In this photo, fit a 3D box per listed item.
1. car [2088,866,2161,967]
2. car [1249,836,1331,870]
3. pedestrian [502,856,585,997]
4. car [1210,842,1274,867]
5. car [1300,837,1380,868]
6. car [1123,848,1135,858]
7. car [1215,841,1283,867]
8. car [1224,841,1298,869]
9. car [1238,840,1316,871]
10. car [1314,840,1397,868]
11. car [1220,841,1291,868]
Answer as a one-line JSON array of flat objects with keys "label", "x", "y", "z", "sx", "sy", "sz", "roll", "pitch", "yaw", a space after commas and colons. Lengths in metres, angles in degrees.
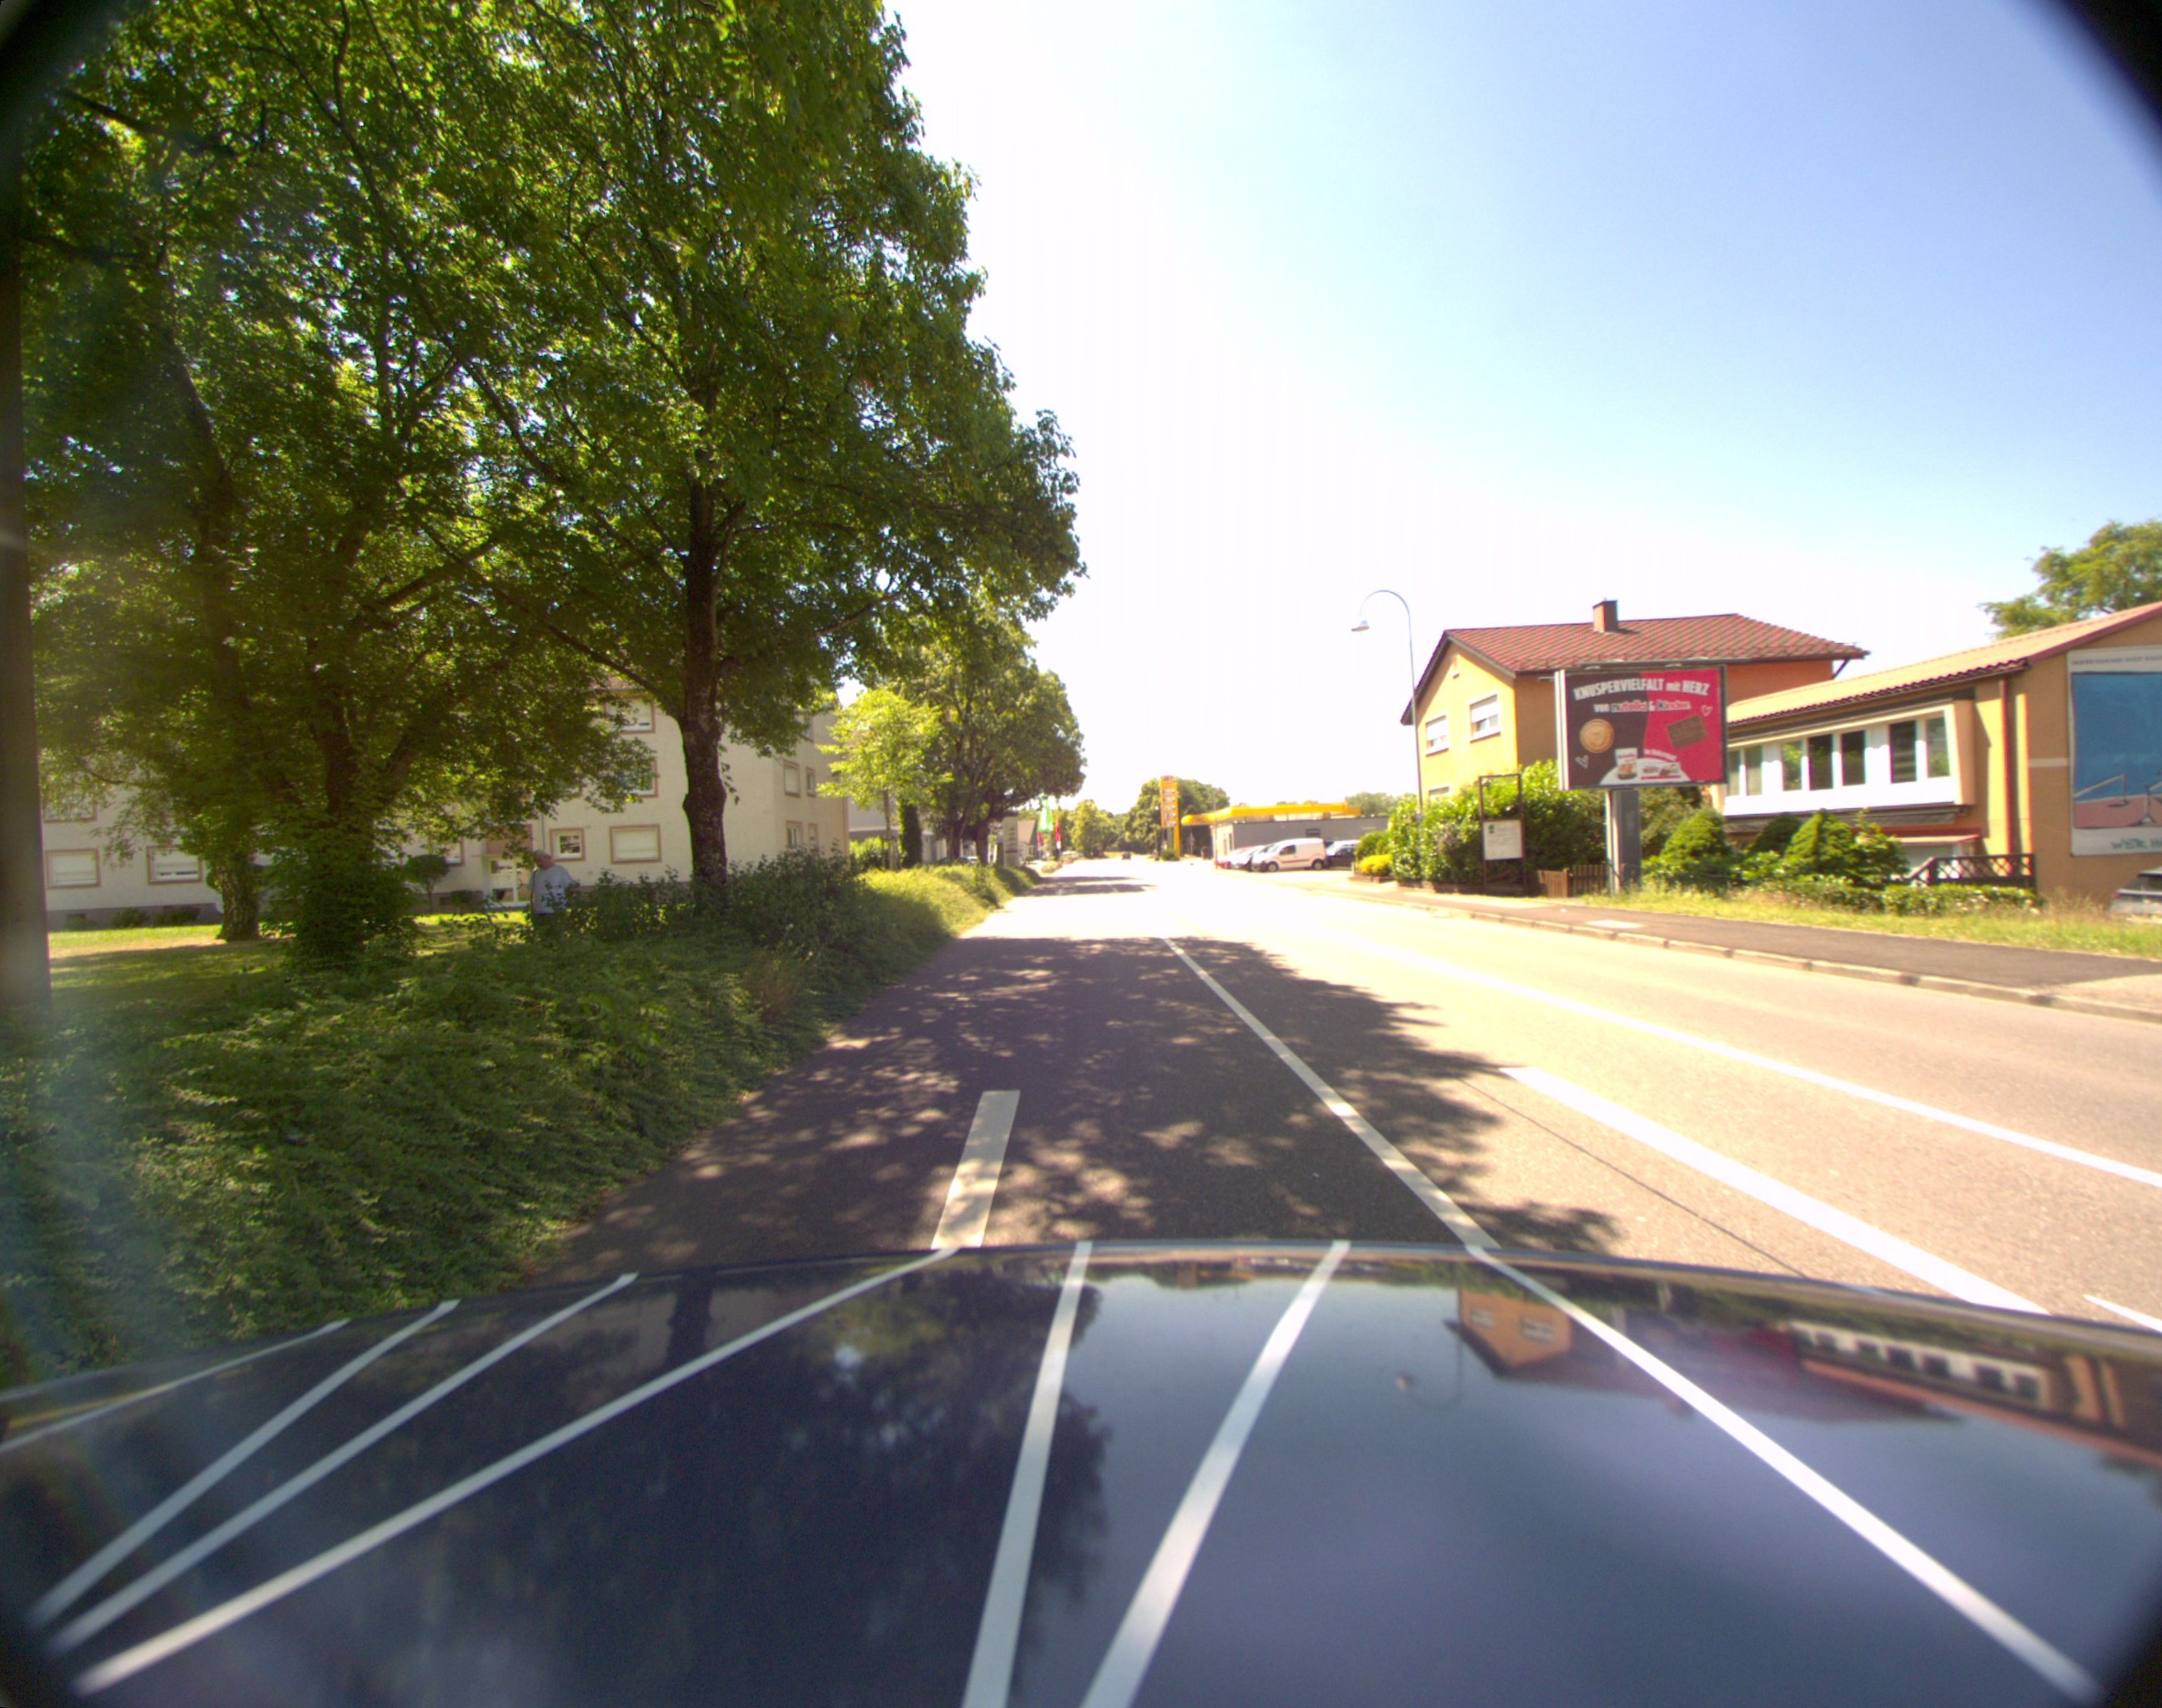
[{"label": "car", "x": 19.844, "y": 1.000, "z": 12.330, "sx": 4.224, "sy": 1.599, "sz": 1.772, "roll": -1, "pitch": 1, "yaw": 7}, {"label": "car", "x": 12.161, "y": -0.057, "z": 44.424, "sx": 4.191, "sy": 1.858, "sz": 1.874, "roll": -2, "pitch": 1, "yaw": -5}, {"label": "pedestrian", "x": -7.561, "y": 0.979, "z": 10.728, "sx": 0.675, "sy": 1.863, "sz": 0.901, "roll": -3, "pitch": 1, "yaw": -22}, {"label": "car", "x": 12.239, "y": 0.021, "z": 57.964, "sx": 4.402, "sy": 1.750, "sz": 1.874, "roll": -2, "pitch": 1, "yaw": -5}, {"label": "car", "x": 16.528, "y": -0.120, "z": 48.581, "sx": 4.402, "sy": 1.815, "sz": 1.874, "roll": -2, "pitch": 1, "yaw": -5}, {"label": "car", "x": 8.009, "y": -0.207, "z": 127.572, "sx": 1.809, "sy": 1.552, "sz": 4.063, "roll": -2, "pitch": 1, "yaw": 1}, {"label": "car", "x": 12.248, "y": -0.016, "z": 55.547, "sx": 4.402, "sy": 1.750, "sz": 1.874, "roll": -2, "pitch": 1, "yaw": -5}, {"label": "car", "x": 12.063, "y": 0.068, "z": 51.058, "sx": 4.402, "sy": 1.750, "sz": 1.874, "roll": -2, "pitch": 1, "yaw": -5}, {"label": "car", "x": 11.990, "y": 0.065, "z": 46.580, "sx": 4.246, "sy": 1.750, "sz": 1.874, "roll": -2, "pitch": 1, "yaw": -5}, {"label": "car", "x": 16.748, "y": -0.012, "z": 46.434, "sx": 4.402, "sy": 1.554, "sz": 1.874, "roll": -2, "pitch": 1, "yaw": -5}, {"label": "car", "x": 12.201, "y": 0.027, "z": 53.274, "sx": 4.402, "sy": 1.750, "sz": 1.874, "roll": -2, "pitch": 1, "yaw": -5}]
